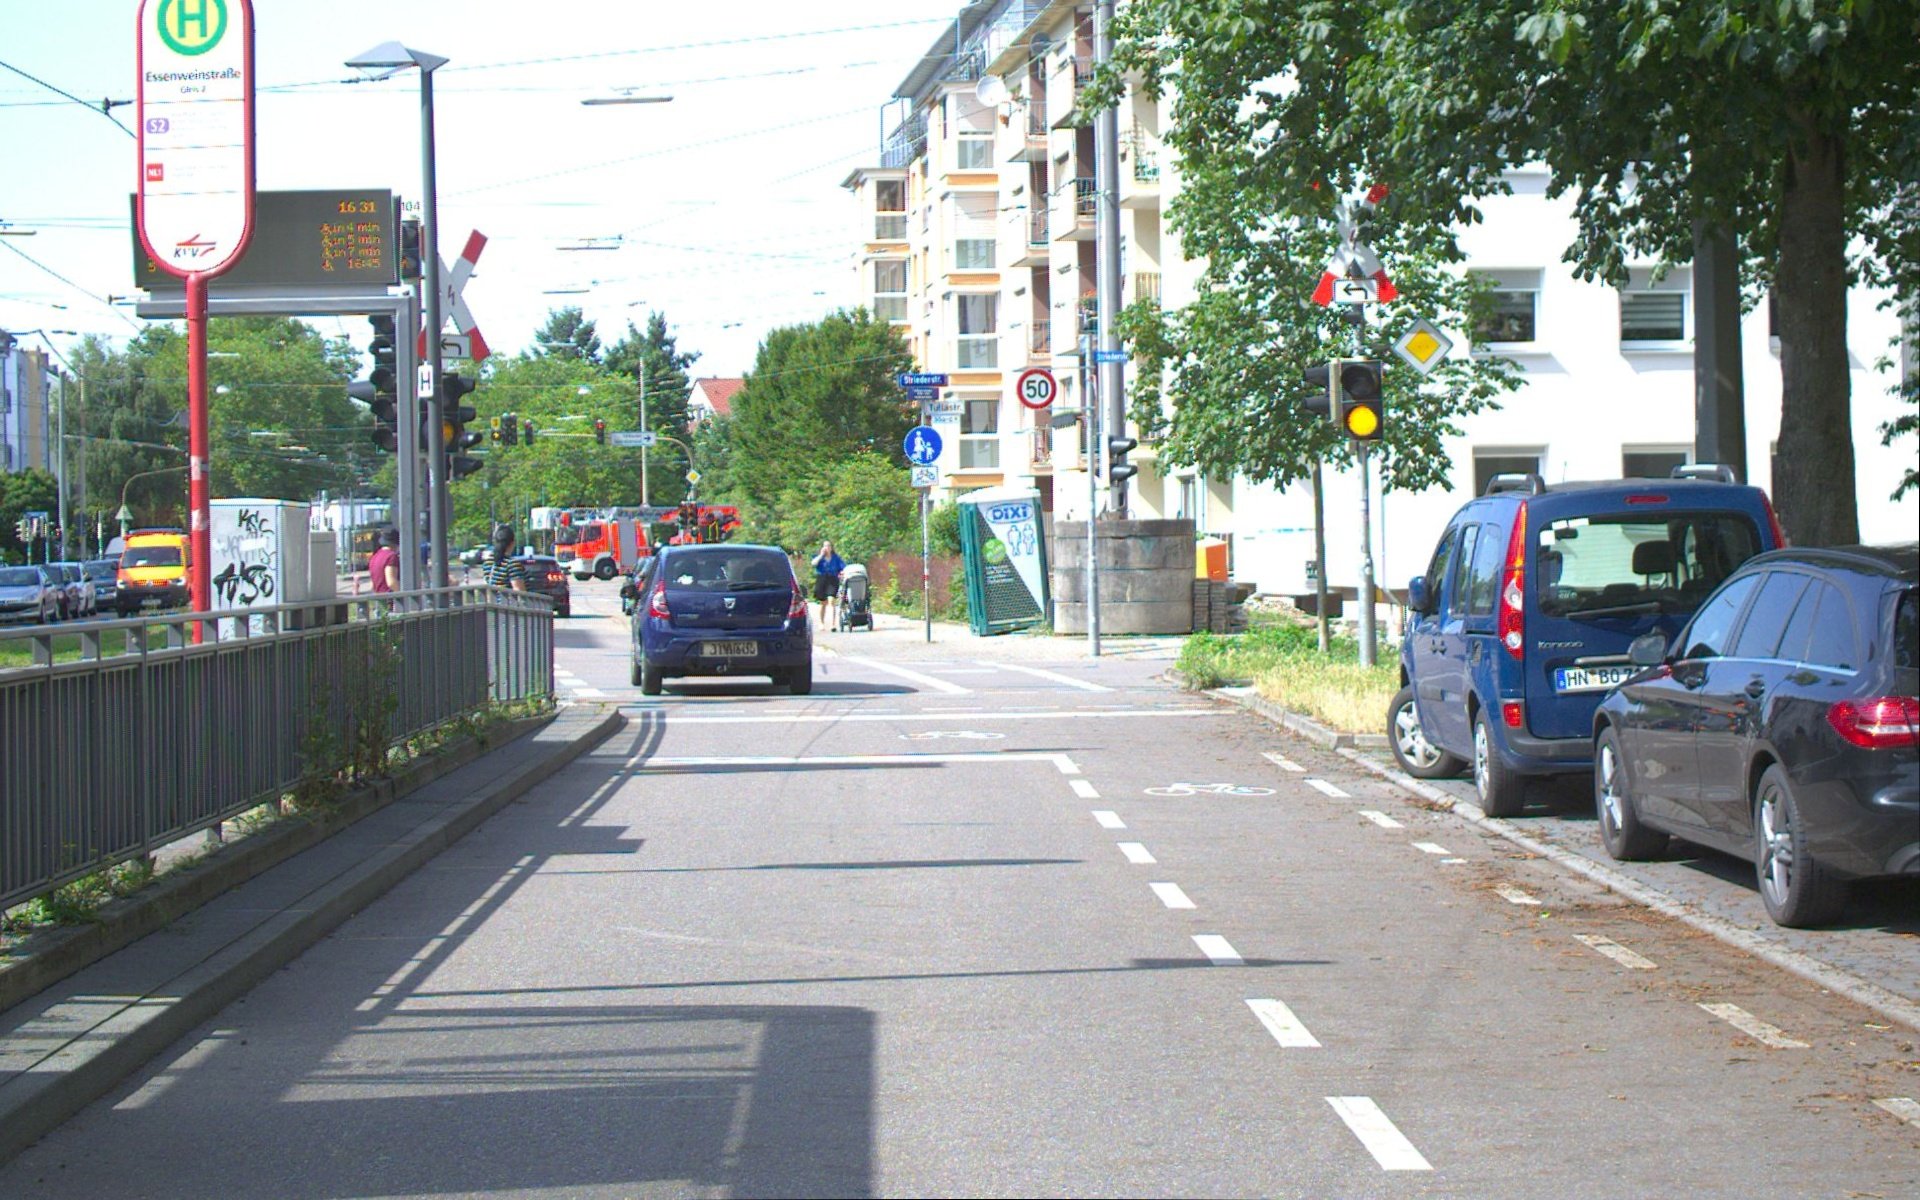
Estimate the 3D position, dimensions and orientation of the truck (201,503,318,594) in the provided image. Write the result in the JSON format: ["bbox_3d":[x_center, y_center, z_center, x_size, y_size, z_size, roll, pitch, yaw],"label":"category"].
[{"bbox_3d":[-25.768,-1.892,126.776,2.596,3.175,8.383,-2,1,-1],"label":"truck"}]

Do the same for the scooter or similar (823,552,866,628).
[{"bbox_3d":[-2.077,-0.187,61.621,0.662,1.299,0.868,-4,1,-3],"label":"scooter or similar"}]

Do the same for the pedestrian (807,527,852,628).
[{"bbox_3d":[-2.369,-0.420,62.502,0.701,1.783,1.030,-4,1,-2],"label":"pedestrian"}]

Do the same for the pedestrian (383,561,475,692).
[{"bbox_3d":[-4.909,0.240,31.753,0.636,1.176,0.799,-1,0,-24],"label":"pedestrian"}]

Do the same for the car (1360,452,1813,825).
[{"bbox_3d":[3.525,0.144,20.083,1.823,1.889,4.184,-2,2,0],"label":"car"}]

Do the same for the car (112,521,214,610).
[{"bbox_3d":[-21.202,-0.939,91.574,1.993,2.267,4.835,1,1,-5],"label":"car"}]

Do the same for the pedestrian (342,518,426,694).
[{"bbox_3d":[-5.466,0.052,32.656,0.705,1.642,0.637,1,0,-5],"label":"pedestrian"}]

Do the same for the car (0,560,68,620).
[{"bbox_3d":[-23.270,-0.259,85.137,1.768,1.437,4.001,1,0,-7],"label":"car"}]

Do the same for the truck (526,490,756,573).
[{"bbox_3d":[-14.186,-3.014,153.422,10.135,3.459,2.675,1,0,-33],"label":"truck"}]

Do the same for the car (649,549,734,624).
[{"bbox_3d":[-5.474,-0.289,69.862,1.622,1.460,3.511,1,0,-6],"label":"car"}]

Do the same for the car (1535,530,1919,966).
[{"bbox_3d":[3.964,0.481,14.738,1.917,1.437,4.797,-3,2,-3],"label":"car"}]

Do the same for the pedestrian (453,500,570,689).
[{"bbox_3d":[-4.054,-0.053,31.024,0.845,1.662,0.799,-1,0,-21],"label":"pedestrian"}]

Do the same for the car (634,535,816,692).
[{"bbox_3d":[-2.420,0.118,35.365,1.743,1.502,4.001,1,0,-4],"label":"car"}]

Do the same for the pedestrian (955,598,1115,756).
[{"bbox_3d":[0.975,1.006,46.900,1.993,2.007,4.000,1,0,-1],"label":"pedestrian"}]
